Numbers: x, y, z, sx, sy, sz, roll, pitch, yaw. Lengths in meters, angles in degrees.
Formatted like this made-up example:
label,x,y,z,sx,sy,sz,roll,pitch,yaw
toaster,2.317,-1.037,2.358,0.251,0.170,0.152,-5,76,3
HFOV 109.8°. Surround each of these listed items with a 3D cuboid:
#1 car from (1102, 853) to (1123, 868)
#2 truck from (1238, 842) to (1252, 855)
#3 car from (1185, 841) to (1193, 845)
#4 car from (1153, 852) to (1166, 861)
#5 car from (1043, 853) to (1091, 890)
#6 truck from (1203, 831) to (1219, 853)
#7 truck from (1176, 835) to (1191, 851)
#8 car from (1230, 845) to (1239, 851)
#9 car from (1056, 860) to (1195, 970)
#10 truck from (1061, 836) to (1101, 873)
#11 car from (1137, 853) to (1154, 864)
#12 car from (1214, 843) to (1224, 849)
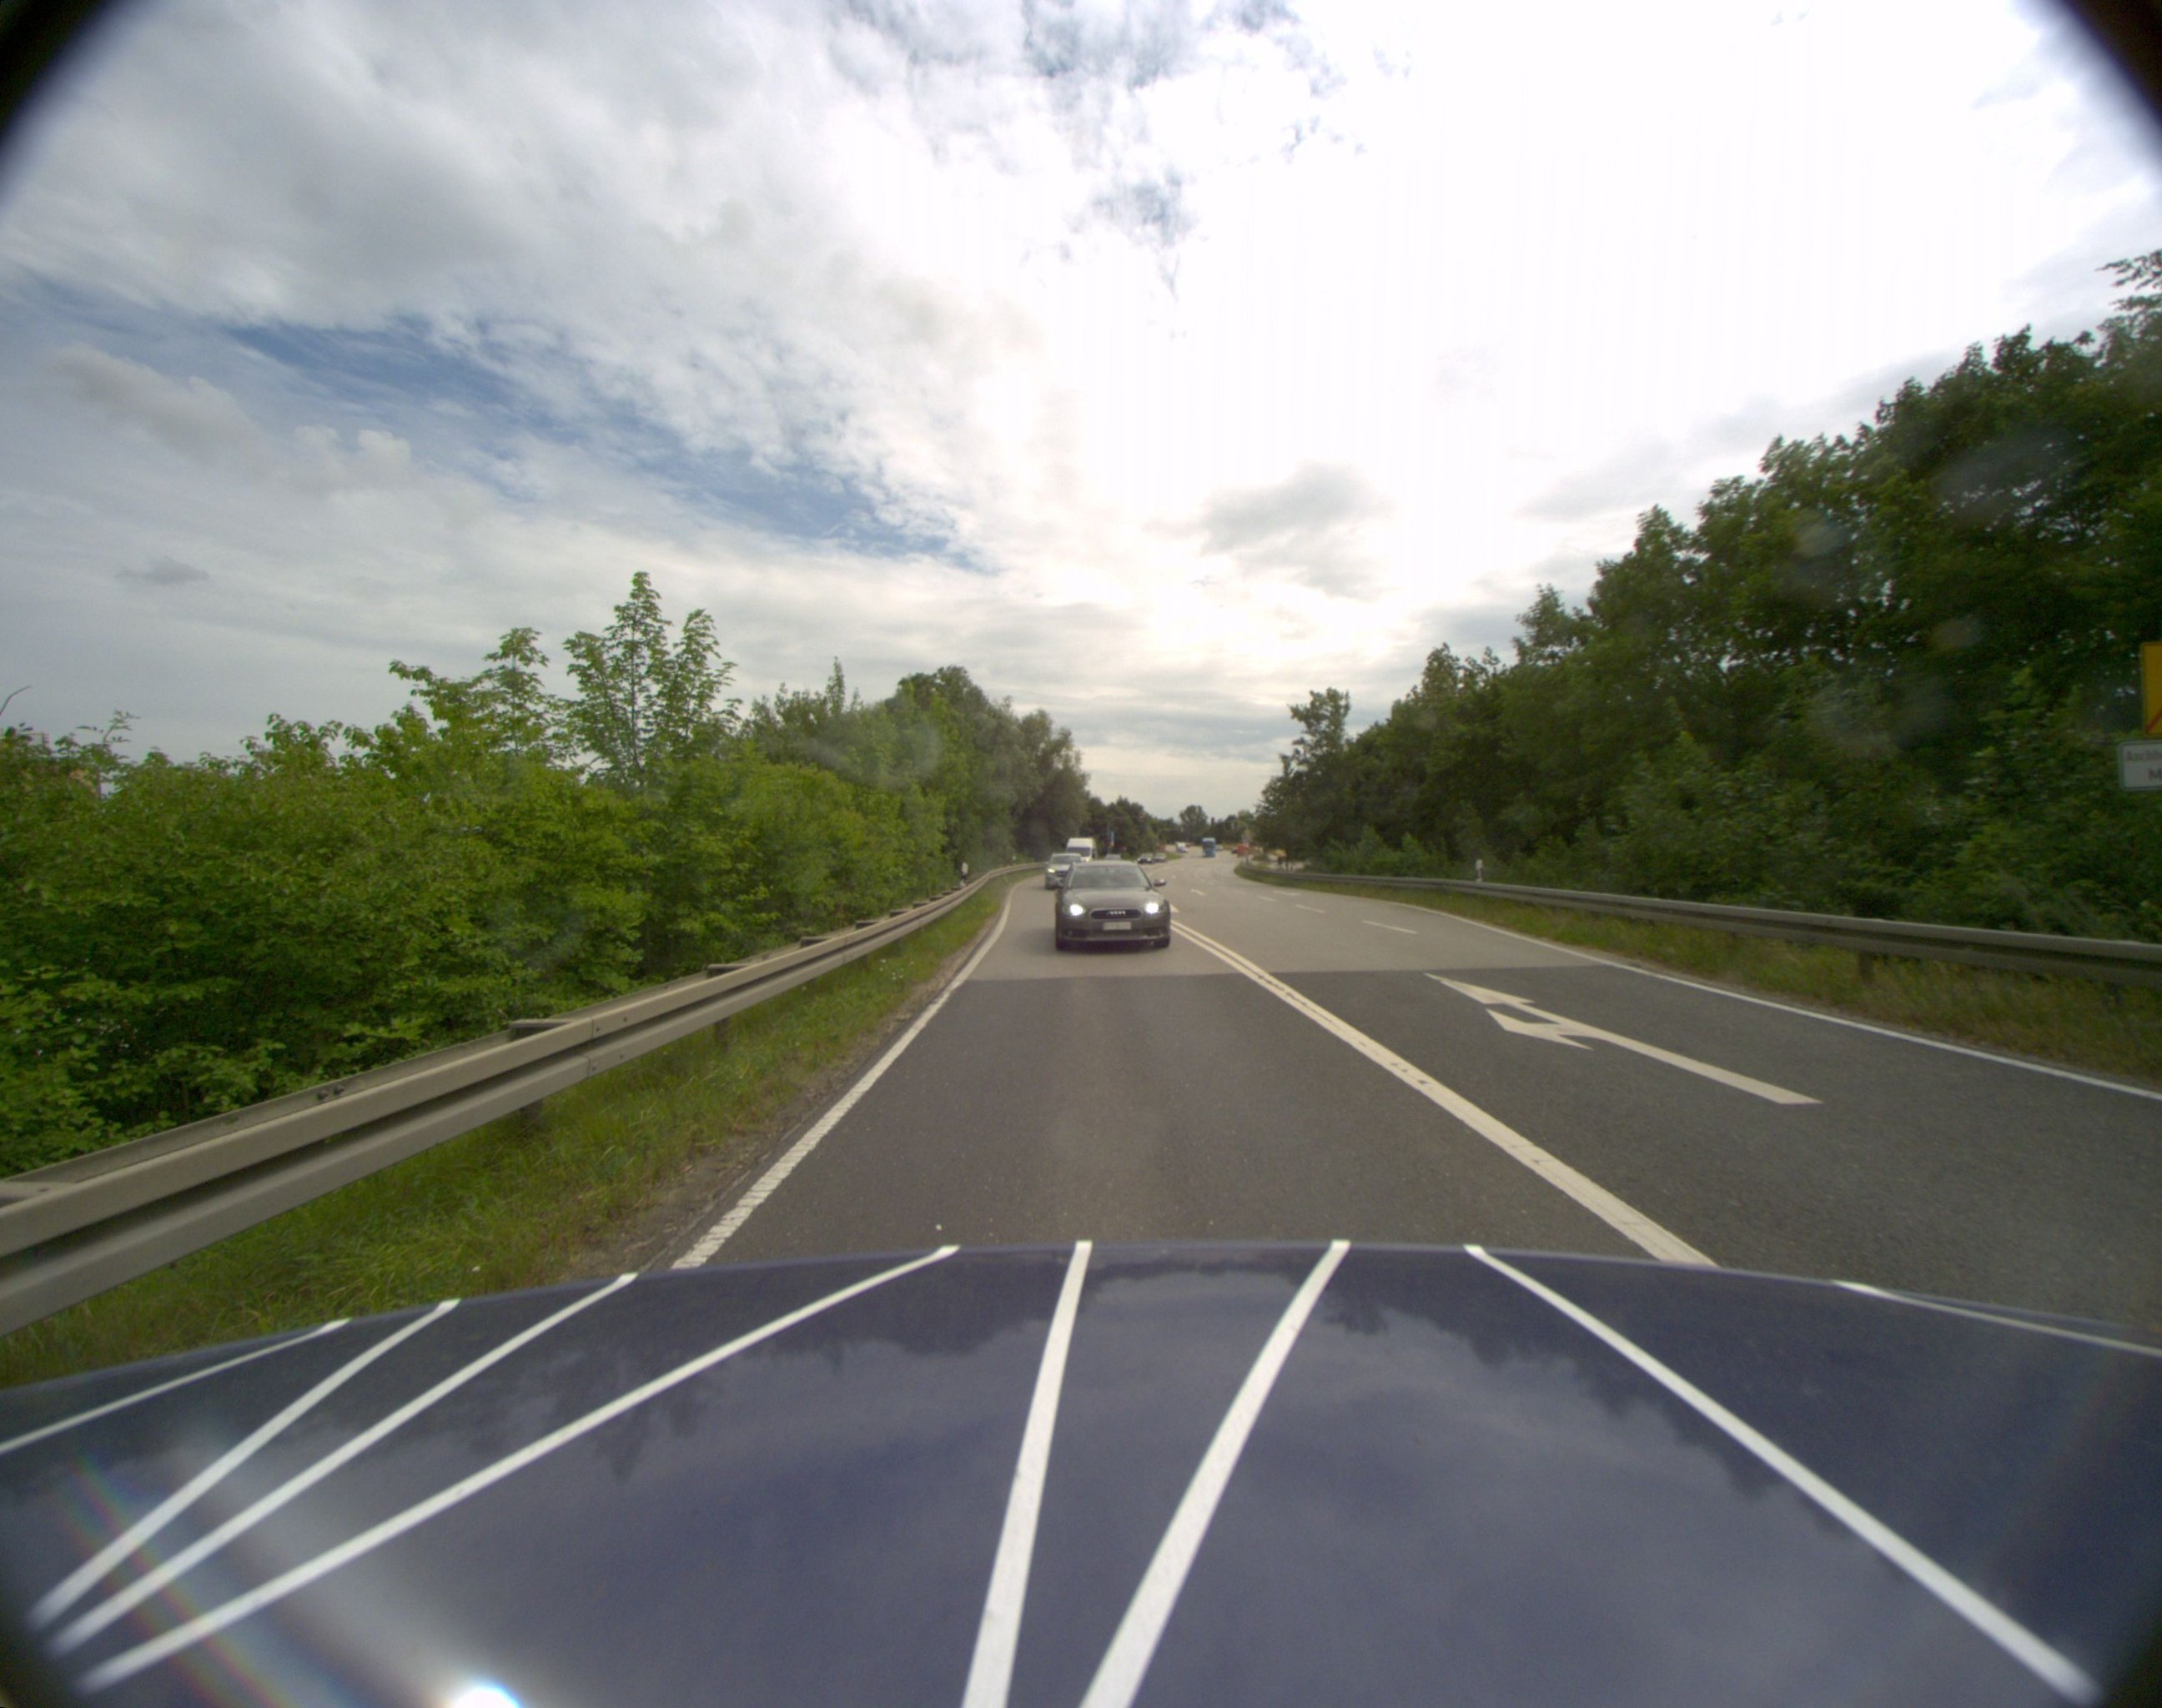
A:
label,x,y,z,sx,sy,sz,roll,pitch,yaw
car,3.138,0.606,75.415,1.743,1.317,4.001,3,1,6
truck,32.911,-1.052,152.886,2.320,2.586,6.027,2,0,8
car,36.897,-3.790,260.406,1.745,1.477,4.197,1,1,-5
car,12.160,0.365,117.423,1.743,1.317,4.002,3,1,8
car,-0.594,0.753,34.911,1.826,1.489,4.225,2,1,3
truck,27.658,-2.559,161.606,3.024,4.325,9.577,1,1,10
truck,28.081,-2.947,208.583,3.026,4.325,9.572,1,1,3
car,37.232,-1.481,184.717,1.919,1.561,4.002,1,1,8
car,0.564,0.885,13.234,1.965,1.447,4.795,-1,1,-2
truck,0.110,-0.027,57.198,2.378,2.579,6.000,1,1,6
car,8.734,0.597,102.763,1.742,1.317,4.003,3,1,11
car,38.840,-2.324,213.933,1.920,1.561,3.999,1,1,1
